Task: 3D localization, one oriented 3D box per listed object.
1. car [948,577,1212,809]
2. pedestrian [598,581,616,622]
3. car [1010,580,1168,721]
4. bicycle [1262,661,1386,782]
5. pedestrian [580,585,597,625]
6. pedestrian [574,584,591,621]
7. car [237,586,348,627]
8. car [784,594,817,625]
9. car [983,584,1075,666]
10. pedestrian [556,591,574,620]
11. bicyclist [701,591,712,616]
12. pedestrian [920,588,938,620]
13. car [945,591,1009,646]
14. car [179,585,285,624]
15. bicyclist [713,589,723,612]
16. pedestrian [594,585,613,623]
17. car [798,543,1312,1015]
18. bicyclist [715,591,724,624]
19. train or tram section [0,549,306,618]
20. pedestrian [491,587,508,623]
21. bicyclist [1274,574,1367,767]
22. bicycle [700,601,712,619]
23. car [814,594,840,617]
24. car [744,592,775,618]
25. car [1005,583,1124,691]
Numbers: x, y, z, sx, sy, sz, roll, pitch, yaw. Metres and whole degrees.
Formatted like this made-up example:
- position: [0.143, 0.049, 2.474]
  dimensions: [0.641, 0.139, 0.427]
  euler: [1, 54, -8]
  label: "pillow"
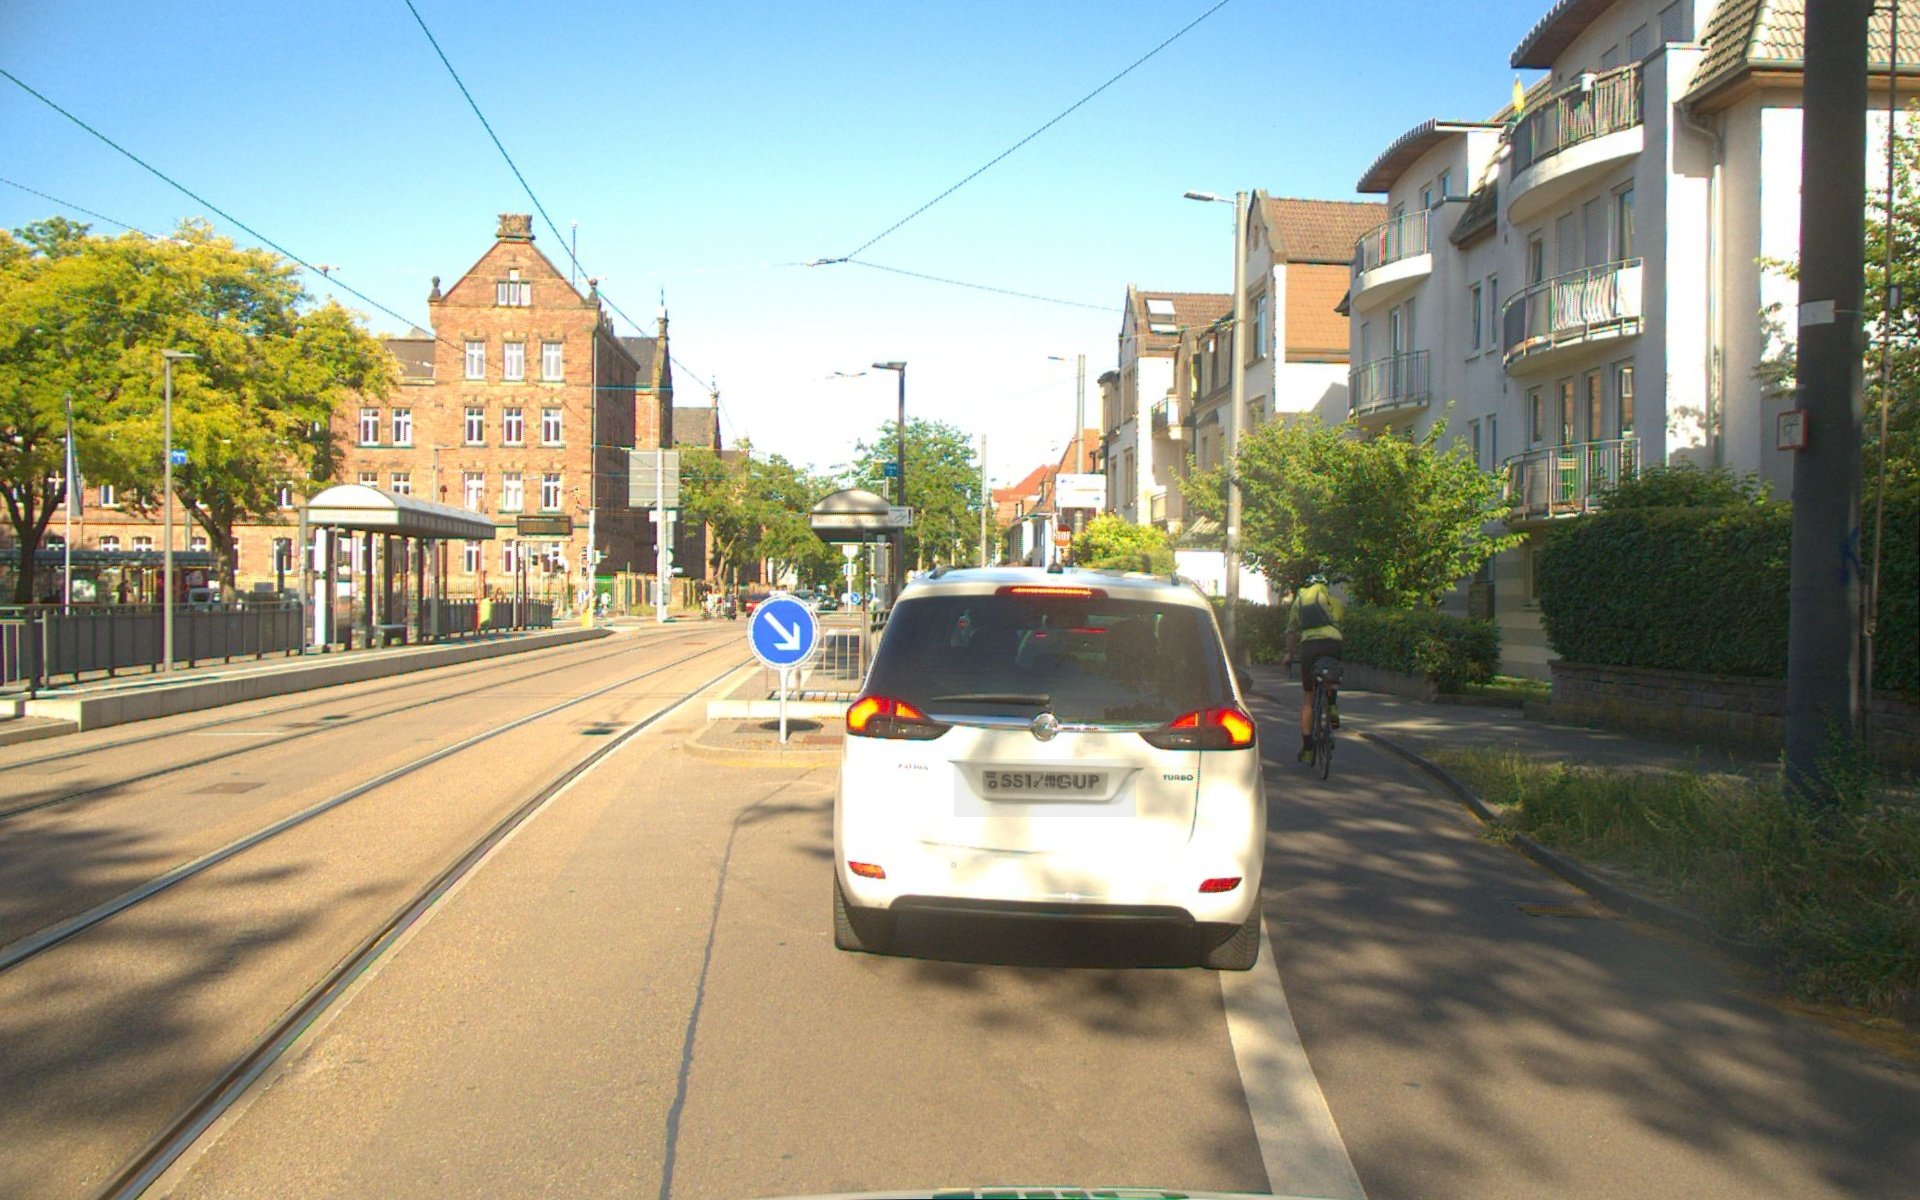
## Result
- position: [1.071, 0.648, 13.771]
  dimensions: [1.866, 1.625, 4.003]
  euler: [0, 0, 6]
  label: "car"
- position: [-18.081, 0.087, 84.688]
  dimensions: [0.782, 2.049, 0.717]
  euler: [1, -1, -18]
  label: "pedestrian"
- position: [1.751, 0.585, 21.622]
  dimensions: [1.866, 1.653, 4.003]
  euler: [0, 0, 6]
  label: "car"
- position: [3.232, 1.055, 14.843]
  dimensions: [0.662, 0.941, 1.885]
  euler: [0, 0, -1]
  label: "bicycle"
- position: [-19.046, 0.257, 84.750]
  dimensions: [0.781, 2.049, 1.042]
  euler: [1, -1, -15]
  label: "pedestrian"
- position: [-20.980, 0.133, 91.904]
  dimensions: [0.677, 2.049, 0.616]
  euler: [1, -1, 33]
  label: "pedestrian"
- position: [-28.114, 0.267, 69.742]
  dimensions: [3.908, 1.658, 1.817]
  euler: [1, 0, -4]
  label: "car"
- position: [-9.352, 0.575, 96.791]
  dimensions: [1.714, 1.746, 3.992]
  euler: [1, 0, -9]
  label: "car"
- position: [1.448, 0.503, 36.116]
  dimensions: [1.868, 1.690, 4.000]
  euler: [0, 0, 0]
  label: "car"
- position: [-22.015, 0.306, 92.172]
  dimensions: [0.642, 1.640, 0.709]
  euler: [1, -1, 30]
  label: "pedestrian"
- position: [-15.618, 0.225, 101.870]
  dimensions: [0.520, 1.503, 0.572]
  euler: [1, -1, -1]
  label: "bicyclist"
- position: [-1.873, 0.220, 101.330]
  dimensions: [0.795, 1.934, 0.740]
  euler: [1, -1, 38]
  label: "pedestrian"
- position: [0.505, 0.554, 53.079]
  dimensions: [1.869, 1.690, 3.998]
  euler: [0, 0, -2]
  label: "car"
- position: [-32.445, 0.220, 73.815]
  dimensions: [3.908, 1.658, 1.817]
  euler: [1, 0, -4]
  label: "car"
- position: [-15.986, 0.061, 109.215]
  dimensions: [0.520, 1.503, 0.572]
  euler: [1, -1, -1]
  label: "bicyclist"
- position: [-19.607, 0.227, 91.024]
  dimensions: [0.789, 2.049, 0.711]
  euler: [1, -1, -37]
  label: "pedestrian"
- position: [0.553, 0.632, 8.029]
  dimensions: [1.866, 1.690, 4.003]
  euler: [0, 0, 6]
  label: "car"
- position: [-15.320, 0.486, 105.438]
  dimensions: [0.488, 2.049, 0.572]
  euler: [1, -1, -1]
  label: "bicyclist"
- position: [-40.747, -0.761, 79.417]
  dimensions: [17.048, 3.210, 3.343]
  euler: [0, 0, -6]
  label: "train or tram section"
- position: [-22.852, 0.247, 82.050]
  dimensions: [0.754, 1.805, 0.717]
  euler: [1, -1, -18]
  label: "pedestrian"
- position: [3.227, 0.619, 14.864]
  dimensions: [0.662, 1.687, 0.745]
  euler: [0, 0, -1]
  label: "bicyclist"
- position: [-15.624, 0.638, 101.825]
  dimensions: [0.498, 1.096, 1.738]
  euler: [1, 0, -1]
  label: "bicycle"
- position: [-10.355, 0.438, 128.895]
  dimensions: [1.711, 1.746, 3.999]
  euler: [1, 0, -1]
  label: "car"
- position: [-13.723, 0.346, 113.394]
  dimensions: [1.711, 1.746, 3.999]
  euler: [1, 0, -1]
  label: "car"
- position: [1.791, 0.577, 28.283]
  dimensions: [1.867, 1.690, 4.002]
  euler: [0, 0, 4]
  label: "car"
